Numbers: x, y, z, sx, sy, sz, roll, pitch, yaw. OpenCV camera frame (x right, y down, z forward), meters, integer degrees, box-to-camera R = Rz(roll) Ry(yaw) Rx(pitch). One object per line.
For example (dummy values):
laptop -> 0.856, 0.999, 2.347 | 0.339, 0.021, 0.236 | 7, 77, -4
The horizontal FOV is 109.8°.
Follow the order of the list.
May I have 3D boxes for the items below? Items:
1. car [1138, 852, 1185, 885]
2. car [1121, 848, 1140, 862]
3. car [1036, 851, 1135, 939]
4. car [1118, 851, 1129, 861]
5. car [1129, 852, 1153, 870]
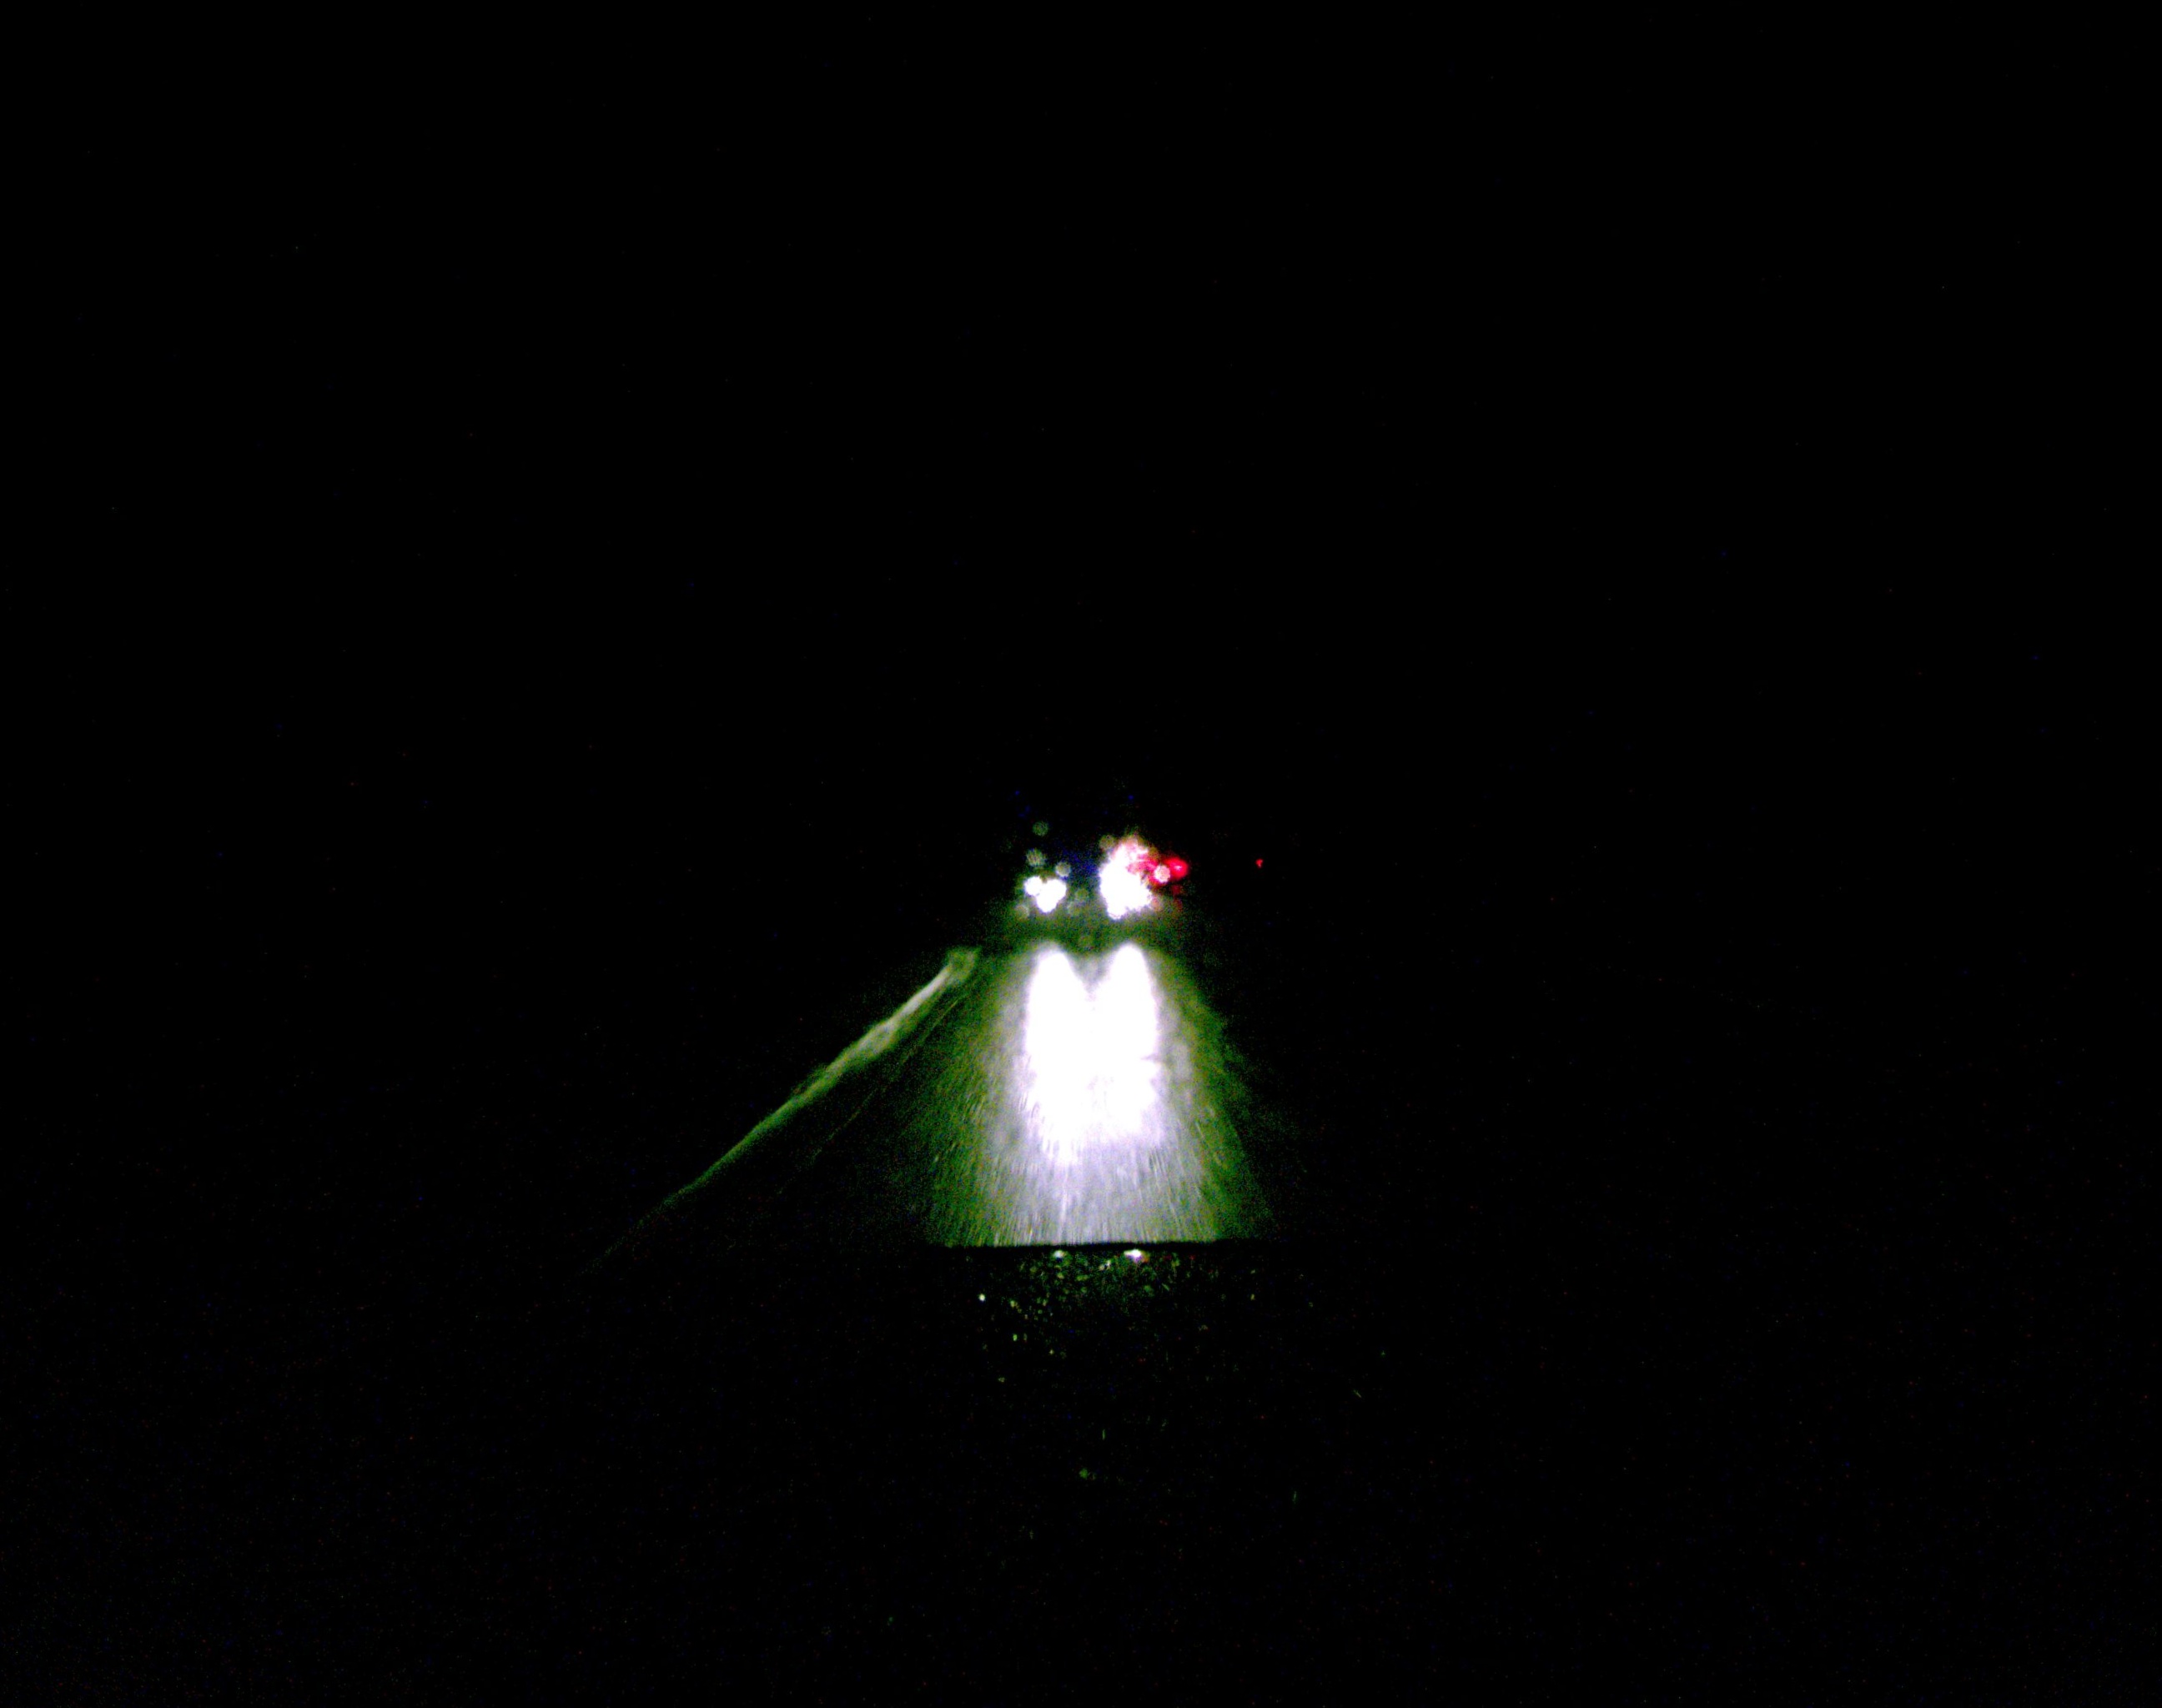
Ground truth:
car -> 4.063, 0.696, 39.154 | 1.908, 1.461, 4.274 | -3, 0, 0
car -> 5.893, 0.086, 91.099 | 1.956, 1.646, 4.124 | -1, 0, -1
car -> 0.193, 0.771, 16.439 | 1.845, 1.565, 4.000 | -2, 1, 3
car -> 7.283, 0.346, 130.251 | 1.845, 1.565, 4.000 | -2, 1, 3
car -> 5.465, 0.614, 69.576 | 1.842, 1.537, 4.257 | -2, 0, 0
